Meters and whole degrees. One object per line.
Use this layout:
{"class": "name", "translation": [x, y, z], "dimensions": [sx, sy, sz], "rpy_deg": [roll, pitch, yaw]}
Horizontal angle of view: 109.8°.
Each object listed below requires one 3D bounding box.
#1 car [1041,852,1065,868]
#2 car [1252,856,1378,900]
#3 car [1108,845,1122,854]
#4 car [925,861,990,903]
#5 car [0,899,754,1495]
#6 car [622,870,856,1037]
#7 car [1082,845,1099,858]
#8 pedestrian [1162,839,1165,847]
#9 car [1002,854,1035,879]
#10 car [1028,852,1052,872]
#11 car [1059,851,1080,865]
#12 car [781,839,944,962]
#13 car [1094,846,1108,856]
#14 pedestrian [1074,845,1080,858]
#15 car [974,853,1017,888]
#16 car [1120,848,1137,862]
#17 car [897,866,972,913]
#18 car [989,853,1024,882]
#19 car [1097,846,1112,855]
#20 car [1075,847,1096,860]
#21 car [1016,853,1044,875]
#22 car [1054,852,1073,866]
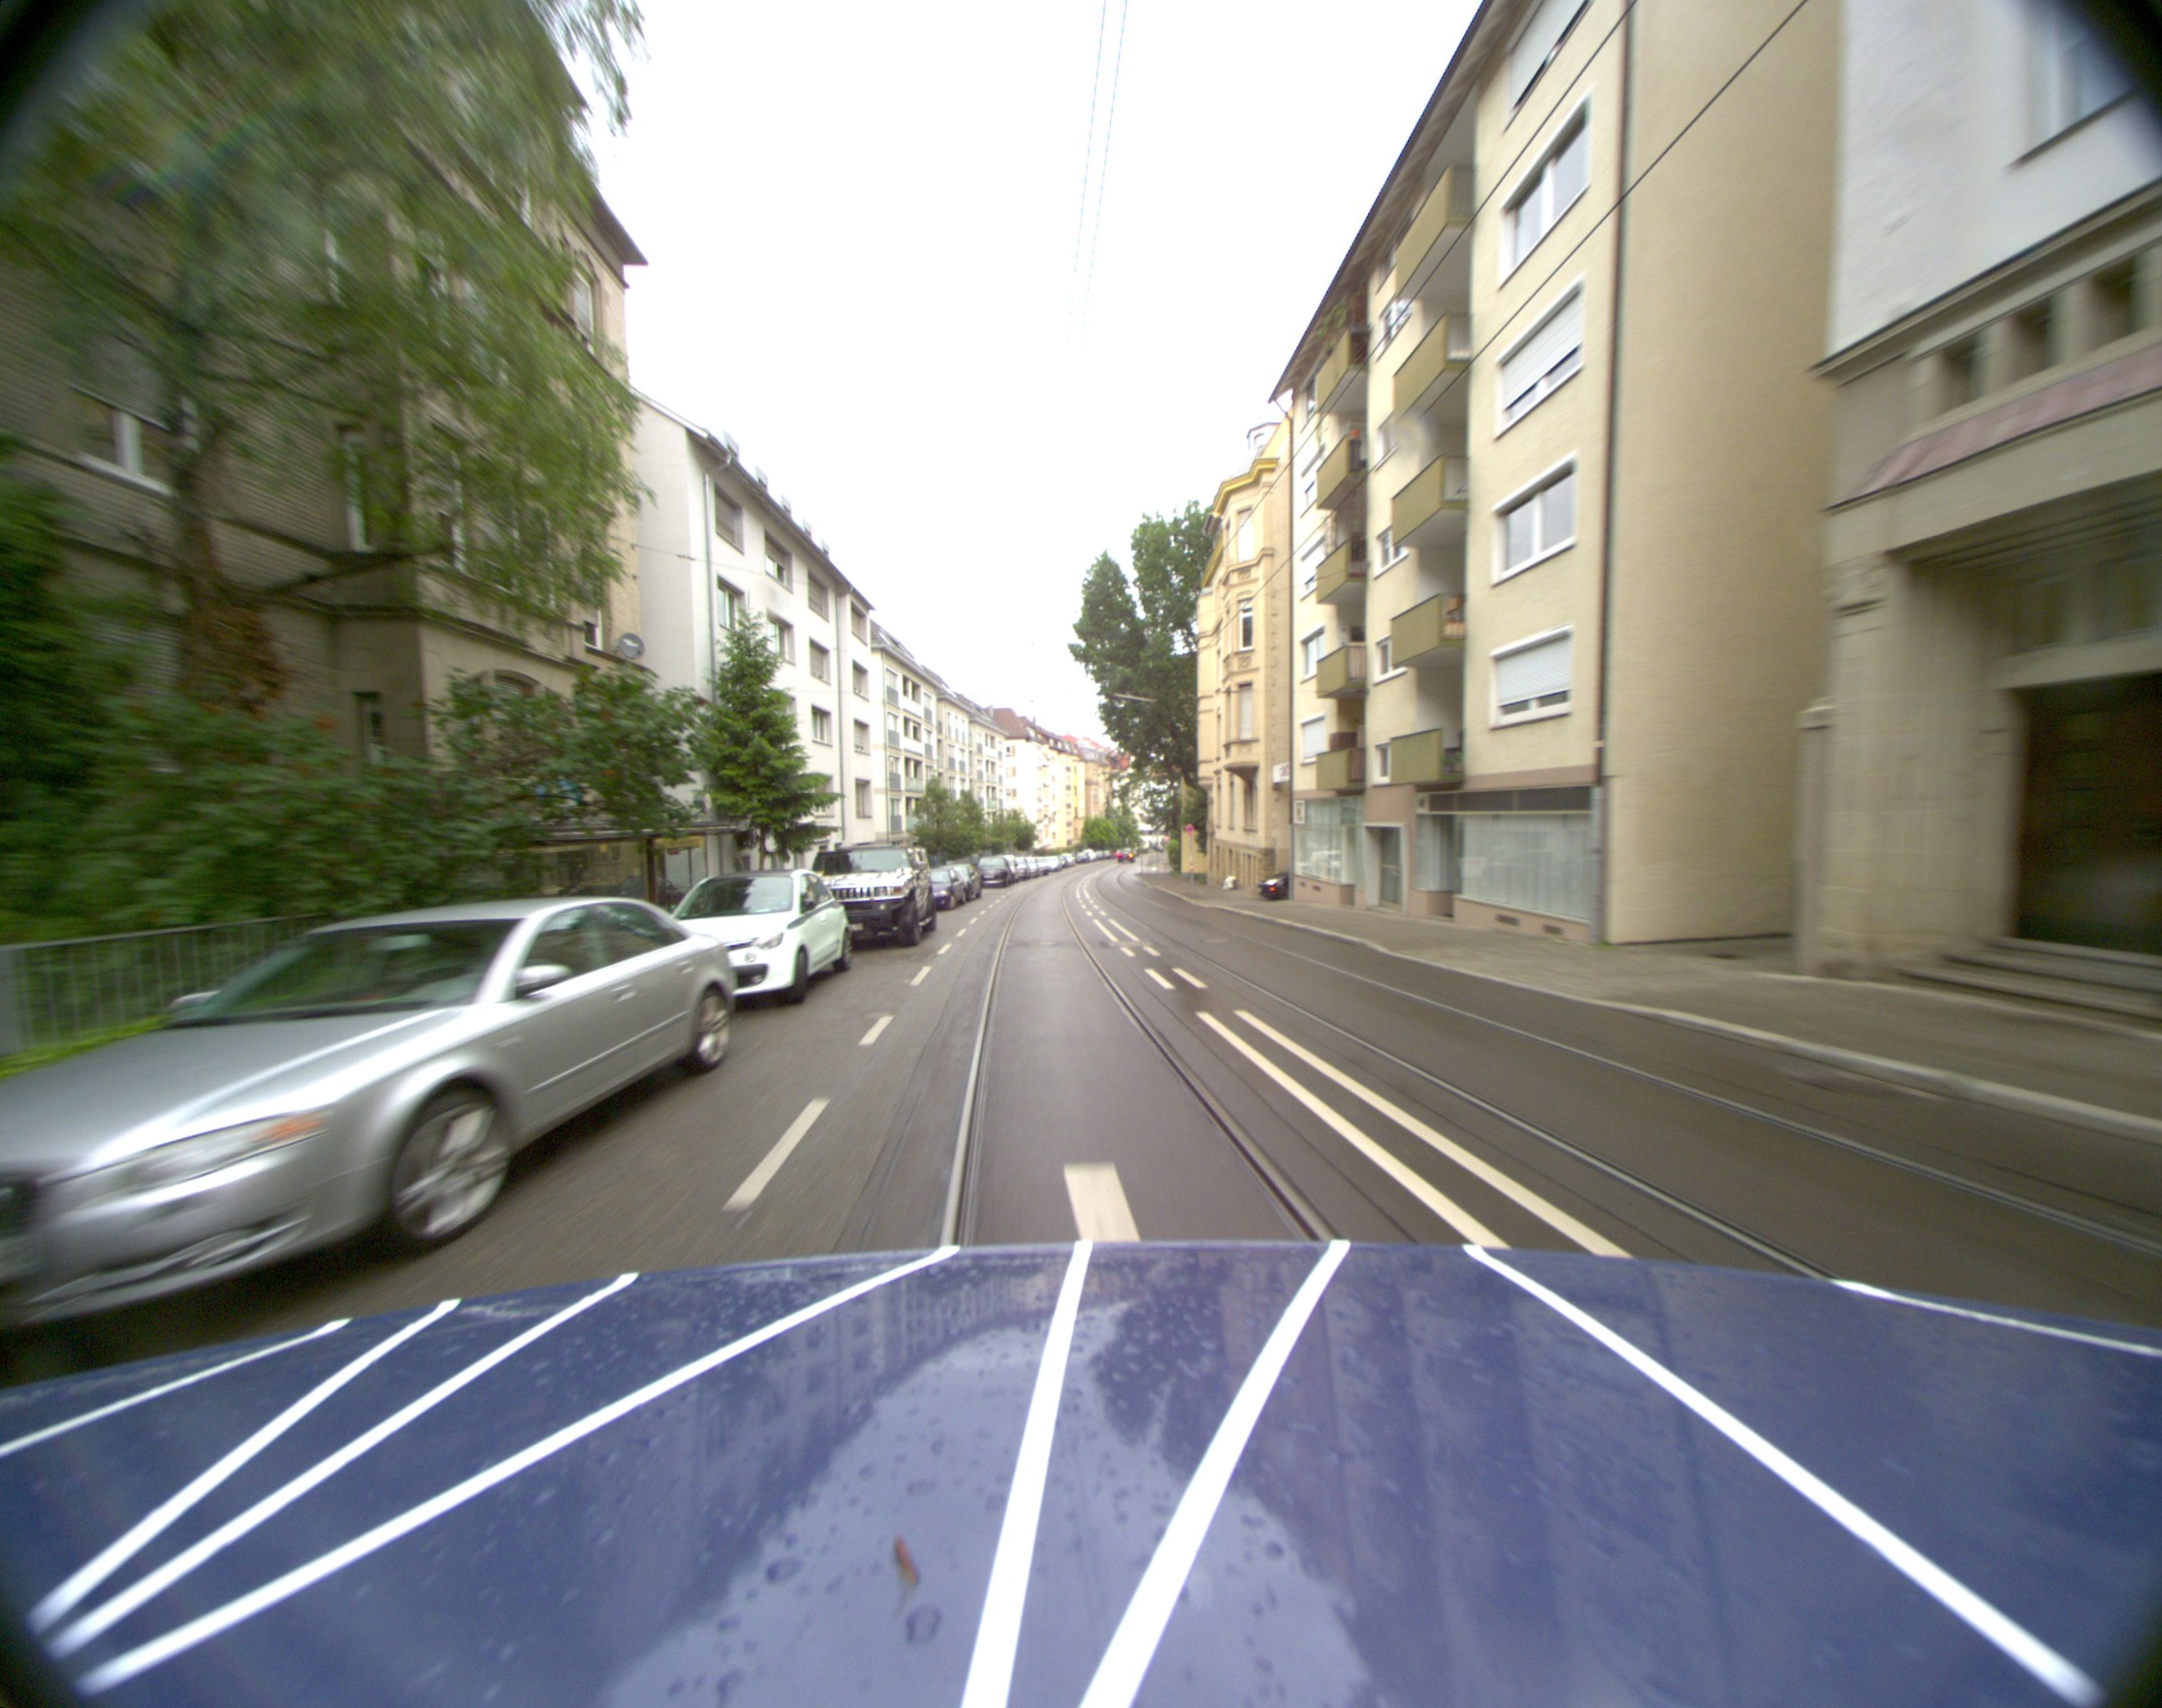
{"class": "car", "translation": [-2.768, 0.584, 76.307], "dimensions": [1.862, 1.507, 4.790], "rpy_deg": [-1, 1, 5]}
{"class": "car", "translation": [8.402, 0.838, 27.474], "dimensions": [3.997, 1.445, 1.740], "rpy_deg": [-1, 0, 0]}
{"class": "car", "translation": [5.645, -0.817, 125.737], "dimensions": [1.555, 1.360, 3.127], "rpy_deg": [-2, 1, 16]}
{"class": "car", "translation": [-4.878, 1.070, 30.534], "dimensions": [1.799, 1.429, 4.610], "rpy_deg": [-2, 0, 0]}
{"class": "car", "translation": [-3.633, 1.148, 4.364], "dimensions": [1.754, 1.392, 4.476], "rpy_deg": [-3, 0, -4]}
{"class": "car", "translation": [-4.039, 1.053, 9.616], "dimensions": [1.565, 1.537, 3.582], "rpy_deg": [-3, 1, -6]}
{"class": "car", "translation": [1.350, -0.295, 103.891], "dimensions": [1.797, 1.613, 3.869], "rpy_deg": [-2, 1, 9]}
{"class": "pedestrian", "translation": [18.552, -2.437, 170.602], "dimensions": [0.649, 1.651, 0.650], "rpy_deg": [0, 1, 7]}
{"class": "car", "translation": [-4.502, 0.853, 55.535], "dimensions": [1.836, 1.647, 4.686], "rpy_deg": [-1, 1, 2]}
{"class": "car", "translation": [-3.558, 0.700, 66.681], "dimensions": [1.980, 1.575, 4.565], "rpy_deg": [-2, 1, -2]}
{"class": "car", "translation": [-1.265, 0.413, 88.307], "dimensions": [1.721, 1.459, 4.392], "rpy_deg": [-1, 1, 9]}
{"class": "car", "translation": [-4.226, 0.788, 15.726], "dimensions": [2.135, 2.002, 5.347], "rpy_deg": [-3, 0, -5]}
{"class": "car", "translation": [2.960, -0.469, 113.005], "dimensions": [1.590, 1.434, 3.477], "rpy_deg": [-2, 1, 9]}
{"class": "pedestrian", "translation": [-0.537, -0.308, 102.032], "dimensions": [0.716, 1.703, 0.665], "rpy_deg": [2, 2, 12]}
{"class": "car", "translation": [-4.859, 0.874, 43.914], "dimensions": [1.947, 1.785, 4.820], "rpy_deg": [-2, 1, -1]}
{"class": "car", "translation": [6.210, 0.118, 99.184], "dimensions": [2.068, 1.668, 4.772], "rpy_deg": [1, 2, 5]}
{"class": "car", "translation": [-4.832, 1.136, 25.551], "dimensions": [1.682, 1.330, 3.882], "rpy_deg": [-2, 0, 0]}
{"class": "car", "translation": [-4.789, 0.828, 49.456], "dimensions": [1.783, 1.785, 4.471], "rpy_deg": [-1, 0, 0]}
{"class": "car", "translation": [3.681, -0.572, 118.061], "dimensions": [1.658, 1.360, 3.638], "rpy_deg": [-2, 1, 11]}
{"class": "car", "translation": [0.599, -0.071, 98.683], "dimensions": [1.797, 1.444, 4.105], "rpy_deg": [-2, 1, 12]}
{"class": "car", "translation": [-4.040, 0.761, 61.068], "dimensions": [1.836, 1.618, 4.663], "rpy_deg": [-2, 1, 1]}
{"class": "car", "translation": [-1.892, 0.502, 83.769], "dimensions": [1.599, 1.416, 3.516], "rpy_deg": [-1, 1, 7]}
